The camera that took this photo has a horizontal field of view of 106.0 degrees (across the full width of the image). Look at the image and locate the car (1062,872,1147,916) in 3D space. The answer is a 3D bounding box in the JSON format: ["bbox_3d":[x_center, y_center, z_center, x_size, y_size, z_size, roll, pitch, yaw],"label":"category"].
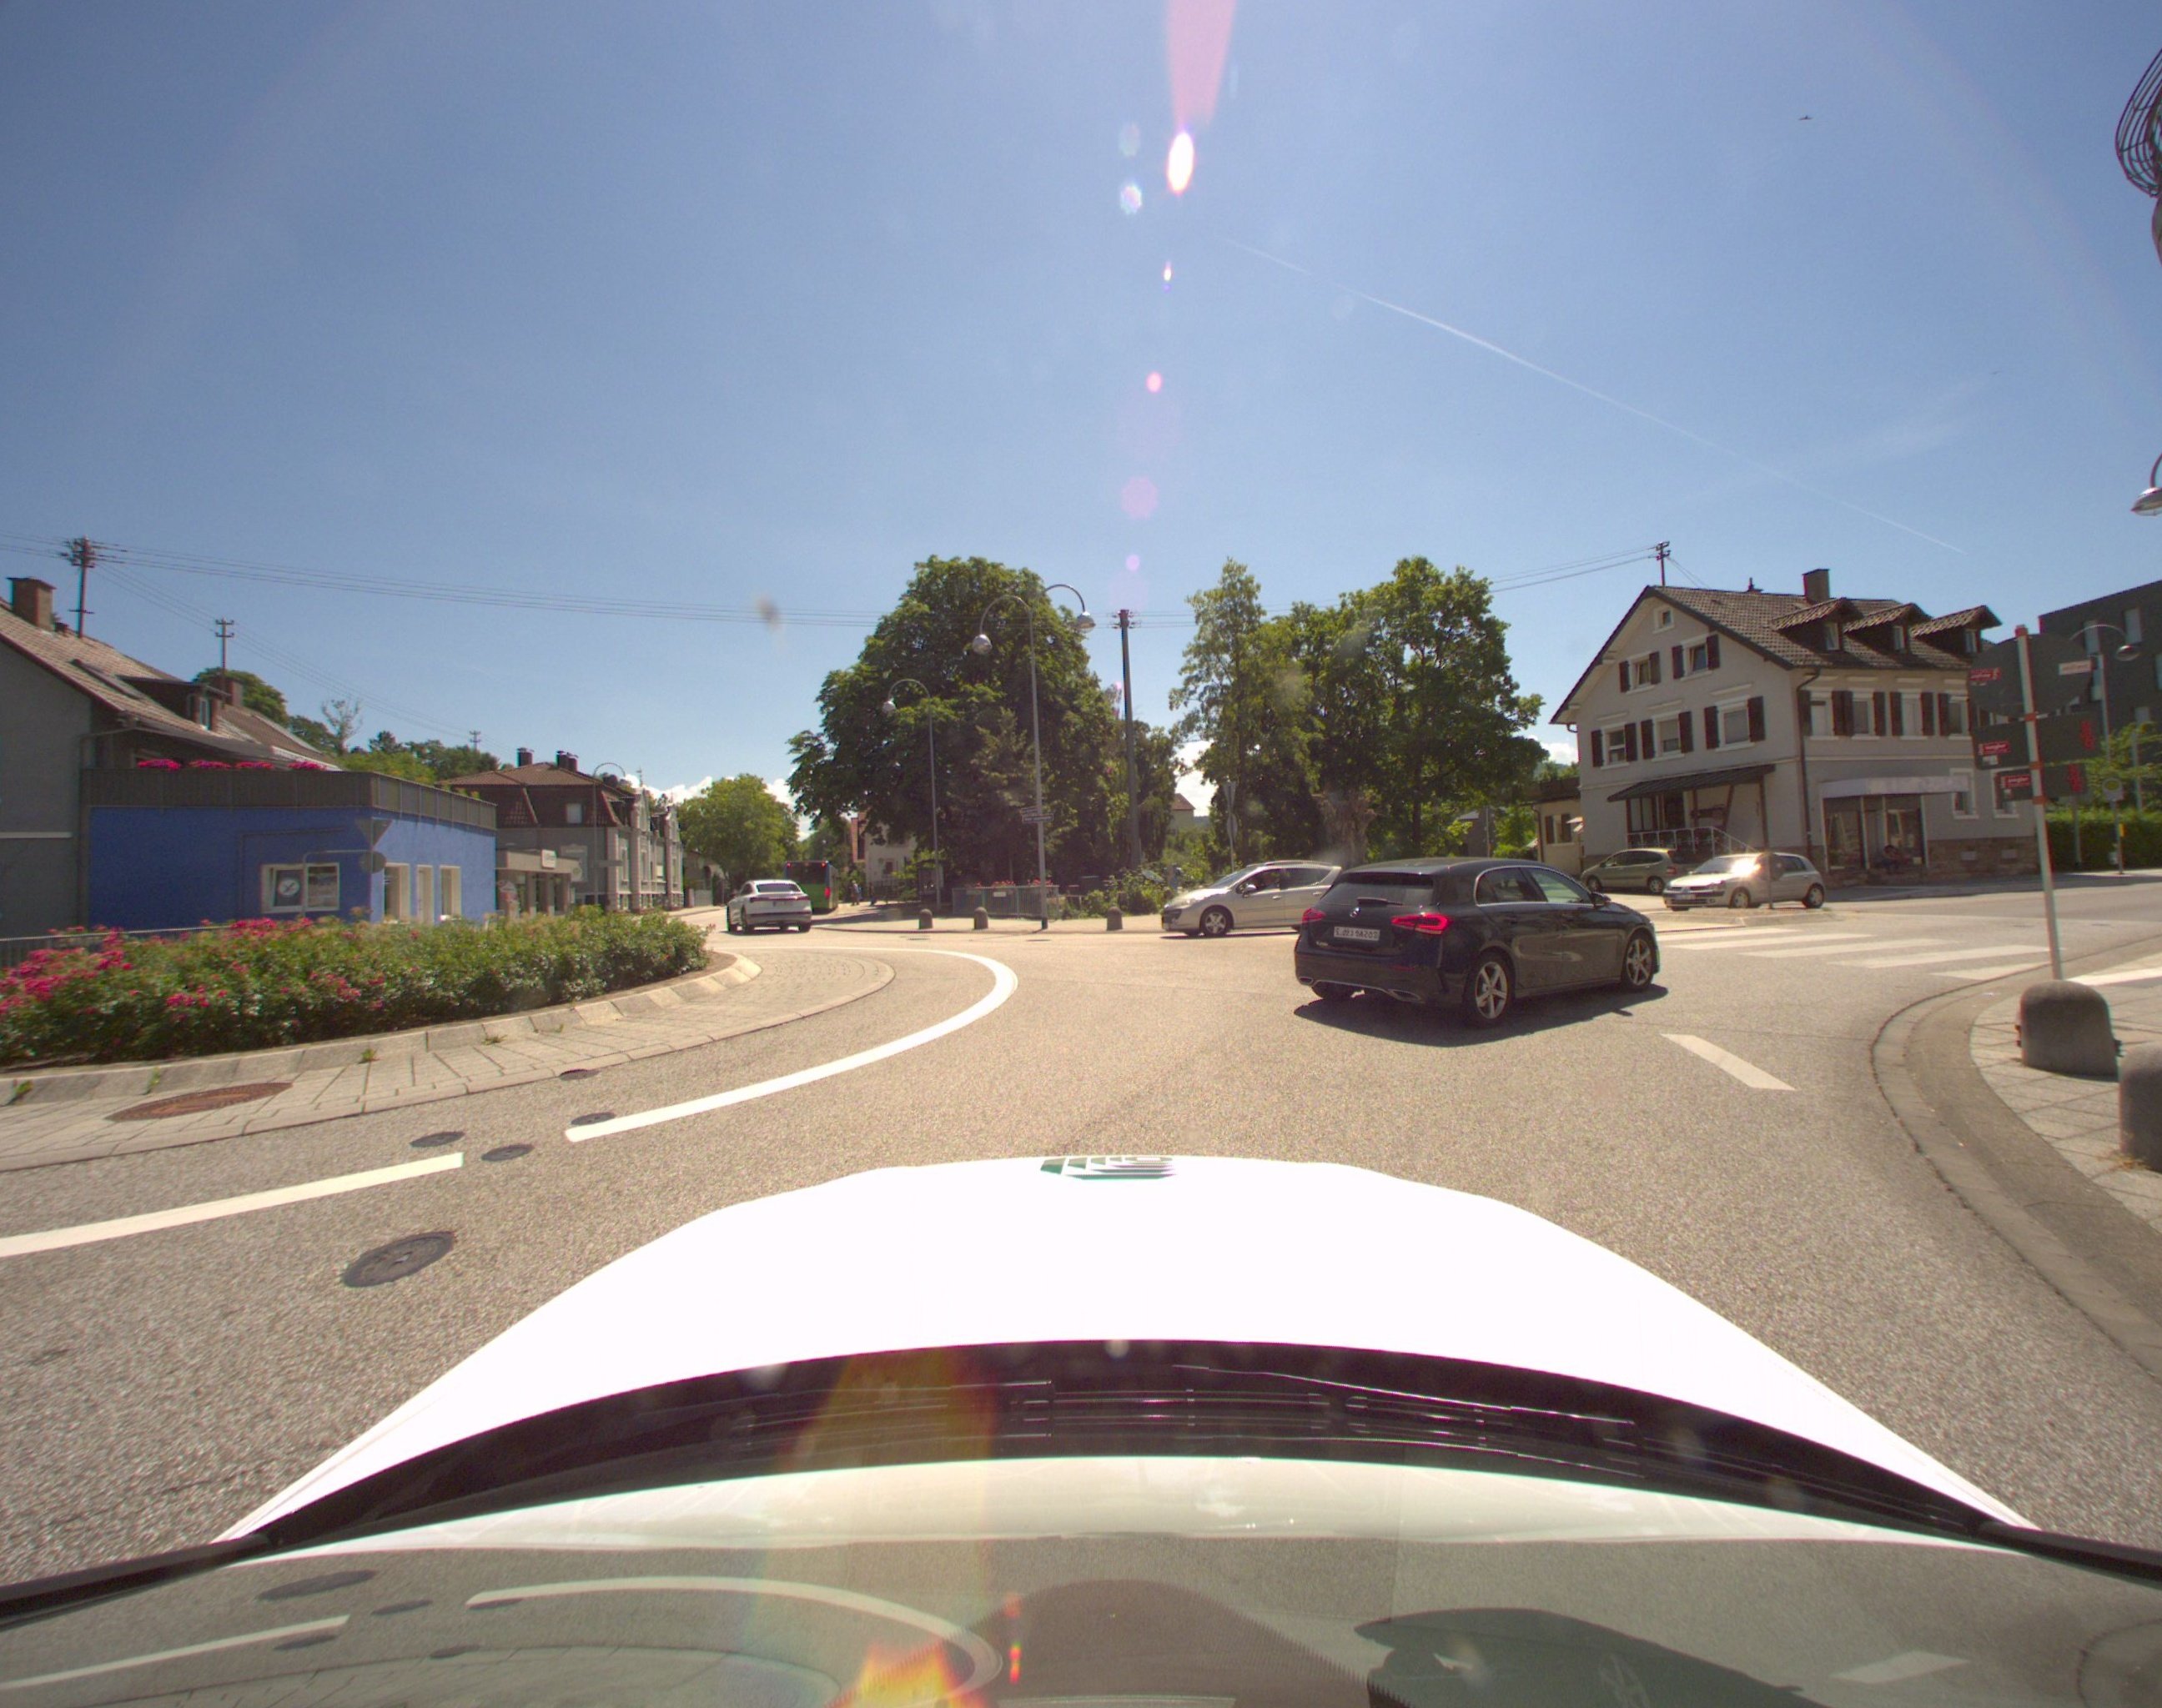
[{"bbox_3d":[0.966,1.612,33.287,3.069,1.553,1.618,-2,-1,-31],"label":"car"}]

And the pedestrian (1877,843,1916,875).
[{"bbox_3d":[27.878,0.174,27.837,0.699,1.054,0.668,-2,-2,-19],"label":"pedestrian"}]

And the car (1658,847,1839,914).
[{"bbox_3d":[16.336,0.628,19.960,3.713,1.412,1.541,-2,-1,-16],"label":"car"}]

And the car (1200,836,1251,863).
[{"bbox_3d":[11.916,-0.335,67.297,3.963,2.014,2.005,-3,-1,9],"label":"car"}]

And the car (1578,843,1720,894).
[{"bbox_3d":[20.292,0.536,29.318,1.755,1.640,3.980,-2,-1,-14],"label":"car"}]

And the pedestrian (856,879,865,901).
[{"bbox_3d":[-15.766,2.599,58.316,0.491,1.522,0.538,-2,-2,-23],"label":"pedestrian"}]

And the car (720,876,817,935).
[{"bbox_3d":[-9.915,1.586,25.672,1.912,1.662,4.362,1,-3,-34],"label":"car"}]

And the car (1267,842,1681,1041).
[{"bbox_3d":[4.110,0.647,8.263,4.455,1.457,1.750,-1,2,-33],"label":"car"}]

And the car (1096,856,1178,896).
[{"bbox_3d":[3.103,1.233,45.359,3.948,2.014,2.013,-3,-2,33],"label":"car"}]

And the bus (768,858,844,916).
[{"bbox_3d":[-17.932,2.216,54.334,3.713,3.172,17.970,0,-2,-15],"label":"bus"}]

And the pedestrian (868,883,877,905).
[{"bbox_3d":[-13.981,2.683,54.581,0.491,1.454,0.526,-2,-2,-23],"label":"pedestrian"}]

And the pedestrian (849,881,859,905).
[{"bbox_3d":[-15.970,2.730,57.294,0.504,1.650,0.575,-2,-2,-23],"label":"pedestrian"}]

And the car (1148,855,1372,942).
[{"bbox_3d":[3.699,0.892,17.092,4.197,1.516,1.738,-2,-1,-12],"label":"car"}]
